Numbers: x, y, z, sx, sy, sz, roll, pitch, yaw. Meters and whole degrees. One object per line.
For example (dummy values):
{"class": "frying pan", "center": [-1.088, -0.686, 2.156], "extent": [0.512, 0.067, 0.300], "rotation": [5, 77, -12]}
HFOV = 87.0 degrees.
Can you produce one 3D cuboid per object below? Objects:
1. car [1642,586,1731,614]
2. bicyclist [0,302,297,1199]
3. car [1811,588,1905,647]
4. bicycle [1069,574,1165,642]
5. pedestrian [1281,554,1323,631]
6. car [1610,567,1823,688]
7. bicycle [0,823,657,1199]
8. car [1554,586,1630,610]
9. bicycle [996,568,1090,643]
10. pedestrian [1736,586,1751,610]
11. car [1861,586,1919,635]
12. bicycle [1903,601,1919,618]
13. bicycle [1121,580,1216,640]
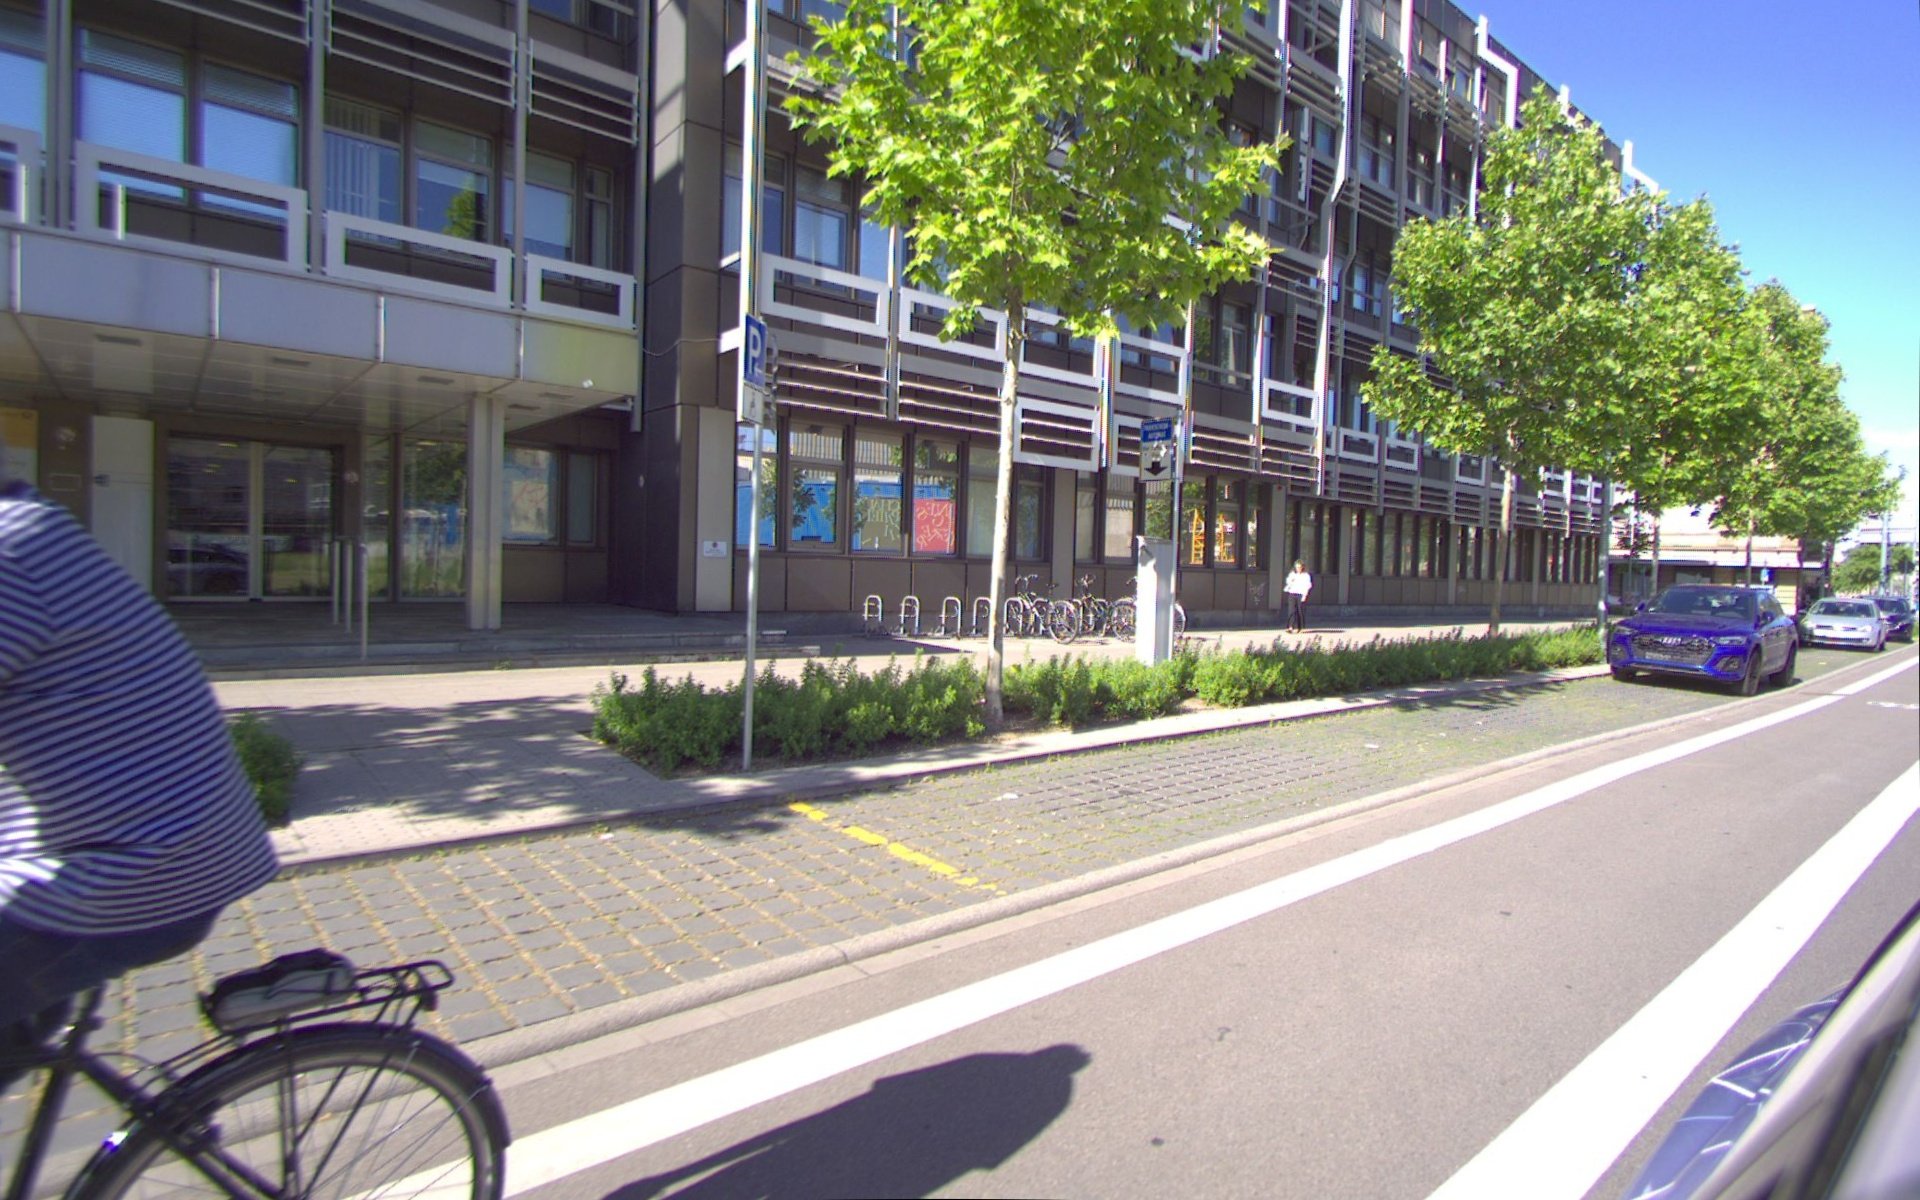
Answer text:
{"class": "car", "center": [45.278, -0.030, 63.184], "extent": [4.382, 1.563, 1.830], "rotation": [3, 2, 36]}
{"class": "bicyclist", "center": [-1.300, 0.448, 1.421], "extent": [0.527, 1.621, 0.513], "rotation": [0, 2, -43]}
{"class": "car", "center": [25.835, 0.448, 29.069], "extent": [4.086, 1.483, 1.620], "rotation": [0, 4, -44]}
{"class": "bicycle", "center": [2.726, 0.117, 17.788], "extent": [0.419, 1.023, 1.864], "rotation": [1, 4, -37]}
{"class": "pedestrian", "center": [7.561, -0.172, 22.393], "extent": [0.662, 1.642, 0.512], "rotation": [1, 4, -39]}
{"class": "car", "center": [12.757, 0.378, 16.948], "extent": [4.764, 1.677, 1.853], "rotation": [0, 3, -42]}
{"class": "bicycle", "center": [-1.503, 0.962, 1.281], "extent": [2.160, 0.917, 0.498], "rotation": [-1, 1, -43]}
{"class": "car", "center": [41.360, -0.121, 66.267], "extent": [4.166, 1.412, 1.538], "rotation": [3, 1, 35]}
{"class": "bicycle", "center": [1.373, 0.058, 17.149], "extent": [0.419, 1.111, 1.864], "rotation": [1, 4, -37]}
{"class": "pedestrian", "center": [47.982, -0.116, 61.962], "extent": [0.680, 1.468, 0.536], "rotation": [2, 2, 38]}
{"class": "car", "center": [34.300, 0.352, 37.017], "extent": [1.749, 1.679, 4.397], "rotation": [3, 2, 45]}
{"class": "bicycle", "center": [66.459, 0.714, 69.772], "extent": [2.050, 1.133, 0.593], "rotation": [5, 4, 43]}
{"class": "bicycle", "center": [3.796, 0.162, 18.576], "extent": [0.419, 0.950, 1.864], "rotation": [1, 4, -37]}
